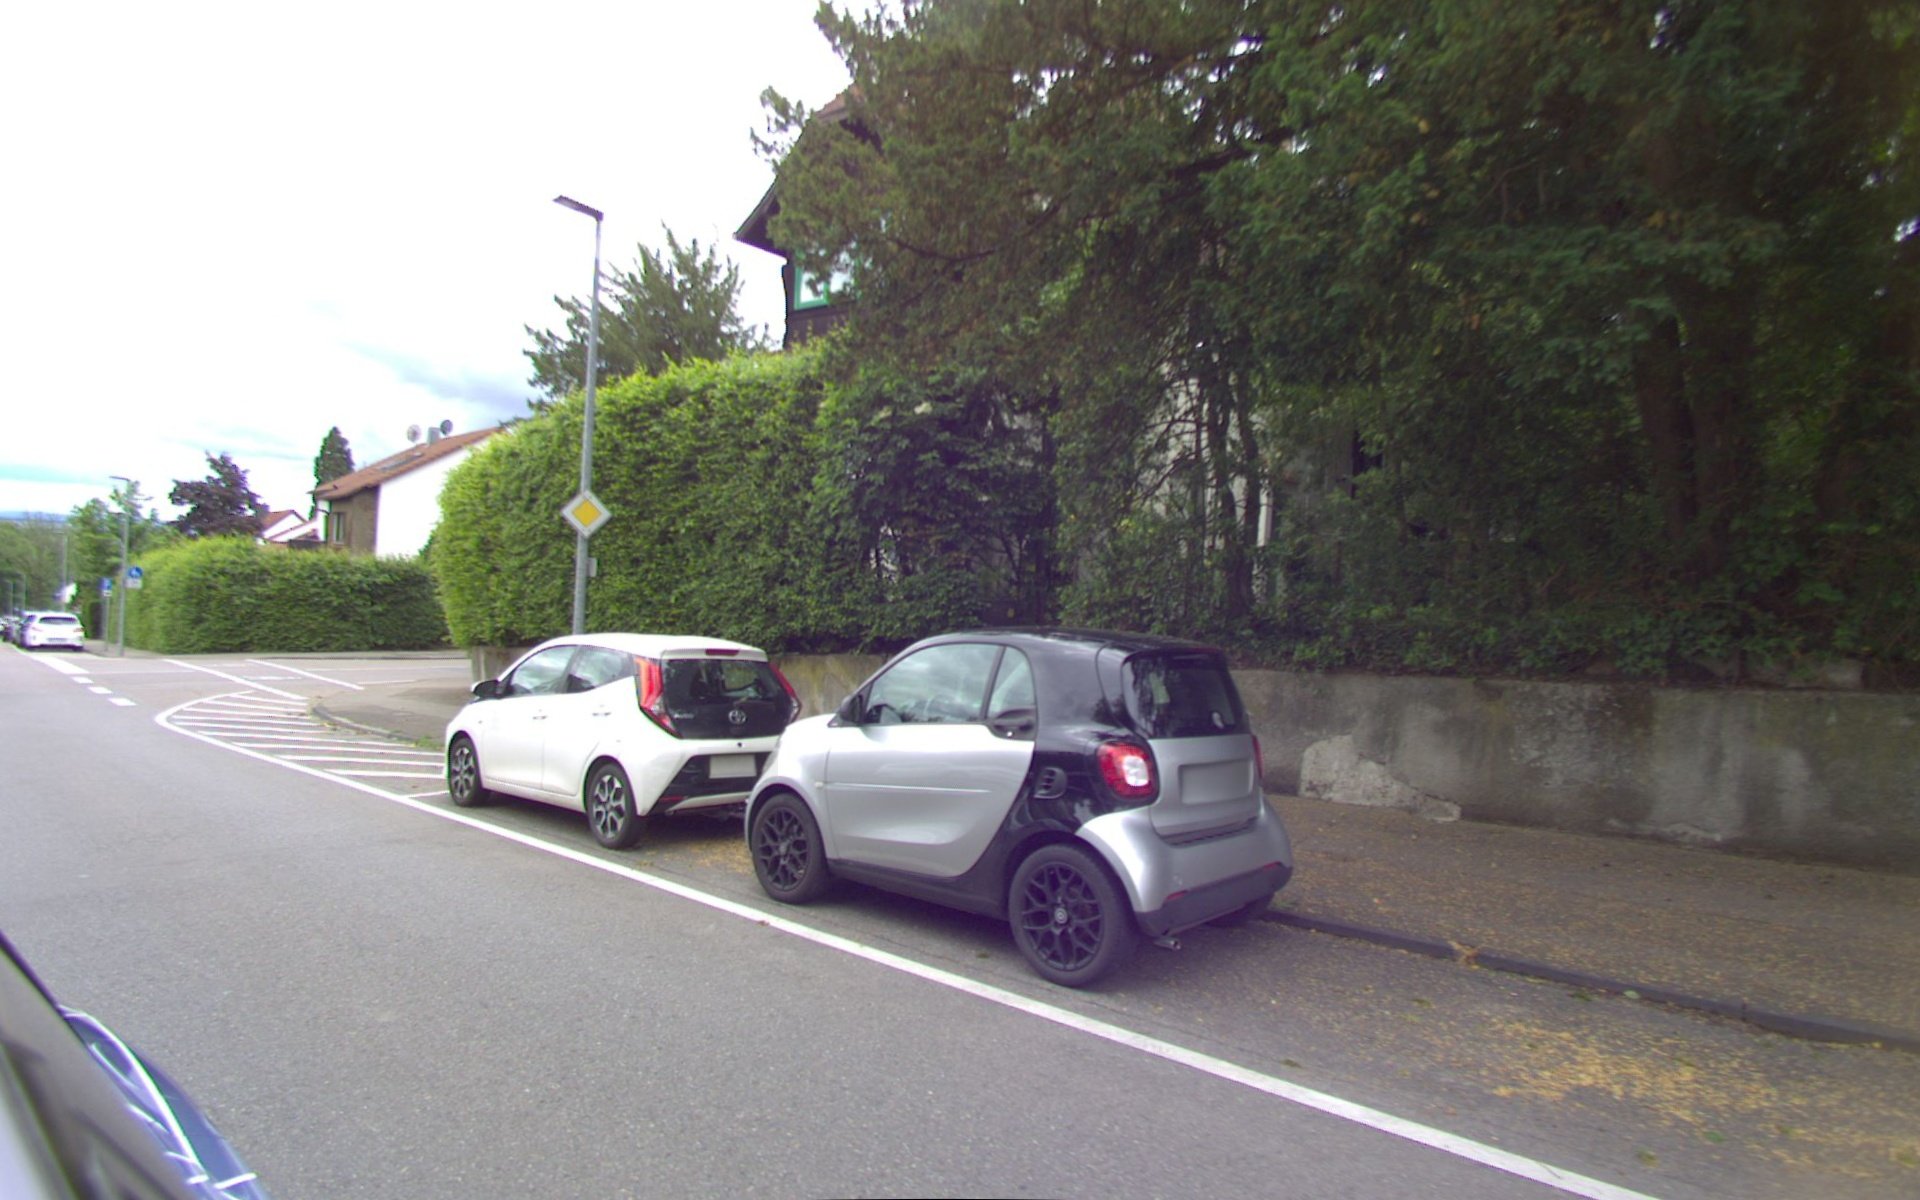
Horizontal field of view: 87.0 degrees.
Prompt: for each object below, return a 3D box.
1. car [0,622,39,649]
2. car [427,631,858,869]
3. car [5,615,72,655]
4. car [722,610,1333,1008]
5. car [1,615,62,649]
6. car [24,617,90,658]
[{"bbox_3d":[-56.765,2.107,60.759,1.917,1.561,4.008,3,-3,-45],"label":"car"},{"bbox_3d":[-2.671,1.019,8.186,3.512,1.459,1.726,-1,-3,41],"label":"car"},{"bbox_3d":[-38.767,1.449,42.538,1.761,1.501,4.741,7,-5,-45],"label":"car"},{"bbox_3d":[0.256,0.836,5.517,2.974,1.530,1.607,0,-2,42],"label":"car"},{"bbox_3d":[-43.109,1.478,46.975,1.864,1.501,4.344,3,-3,-45],"label":"car"},{"bbox_3d":[-34.928,1.442,39.126,1.670,1.430,3.582,6,-5,-44],"label":"car"}]
